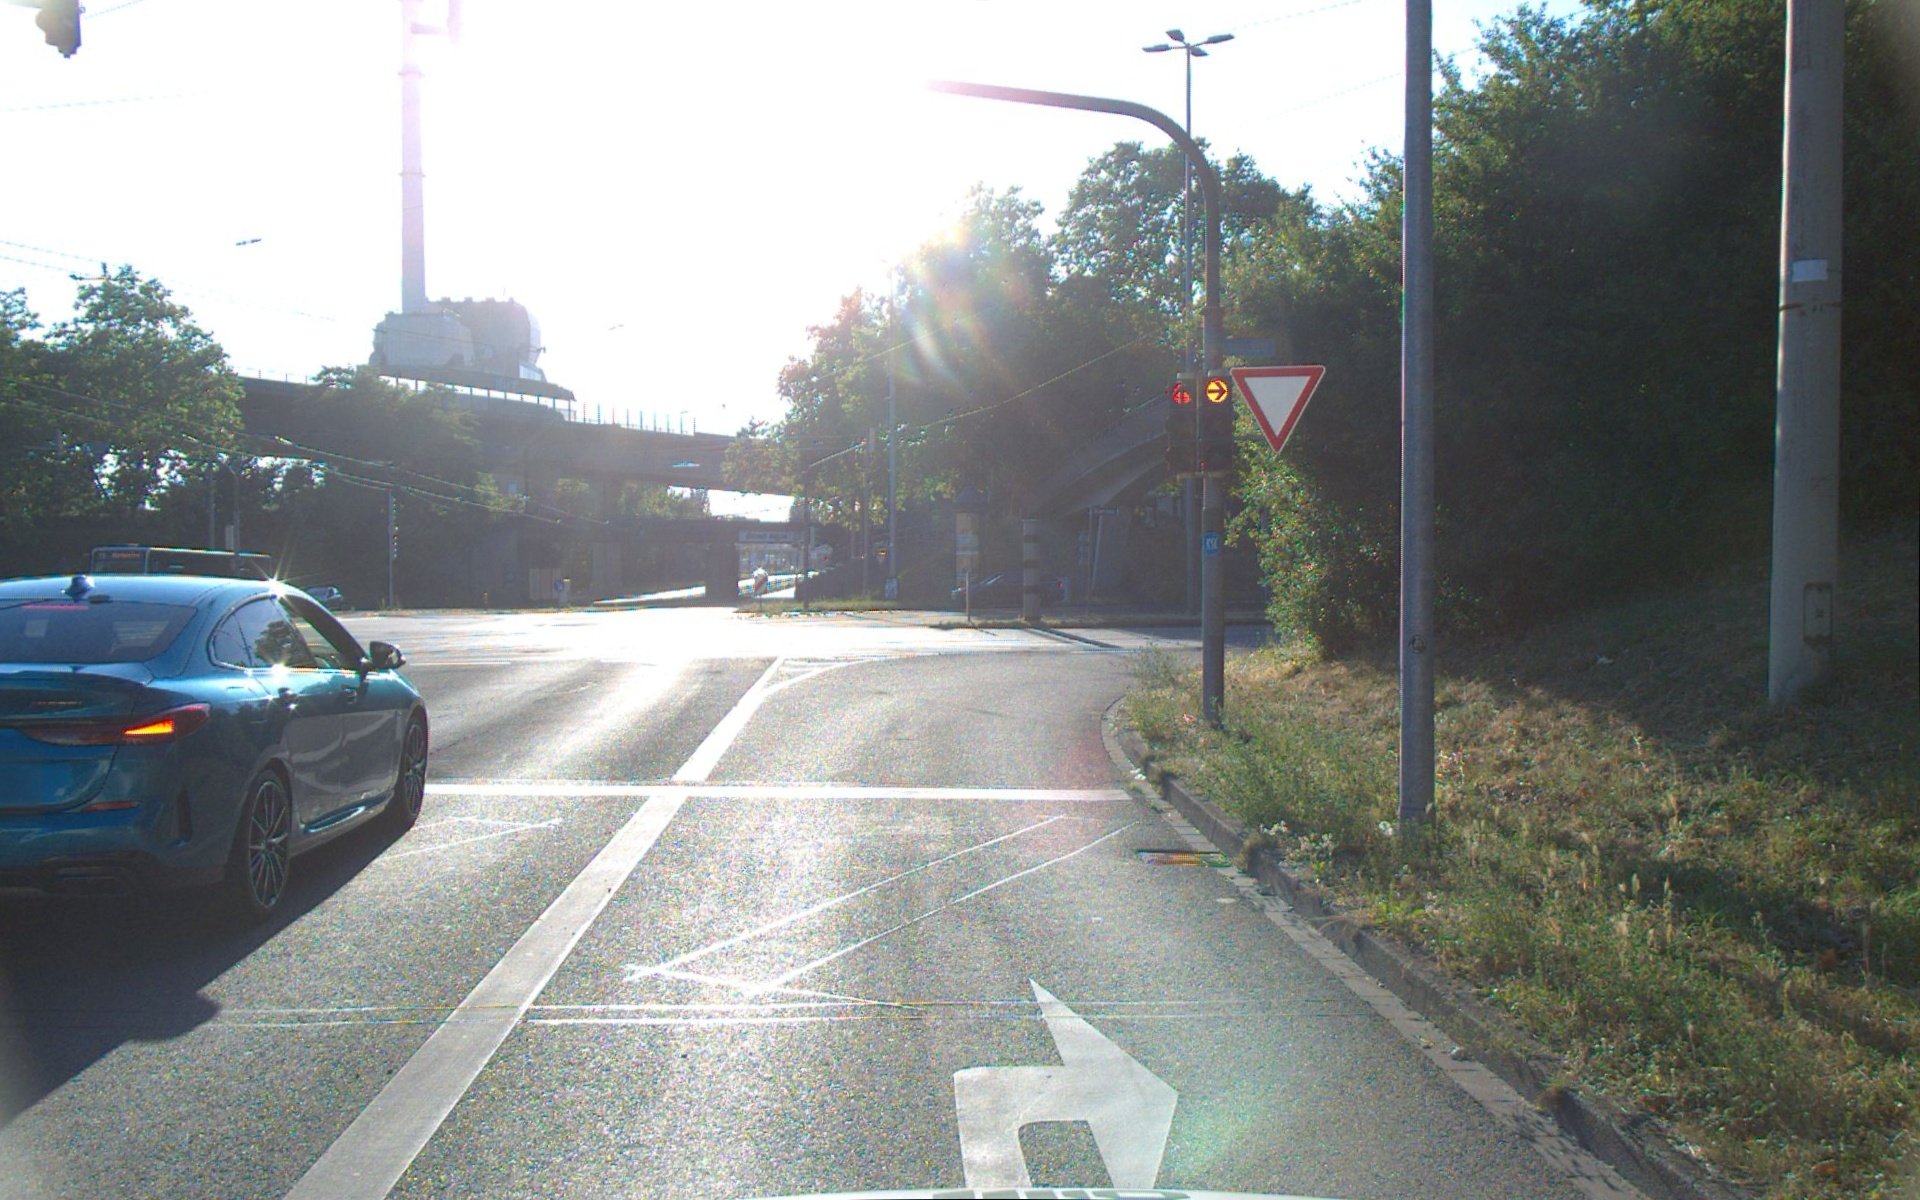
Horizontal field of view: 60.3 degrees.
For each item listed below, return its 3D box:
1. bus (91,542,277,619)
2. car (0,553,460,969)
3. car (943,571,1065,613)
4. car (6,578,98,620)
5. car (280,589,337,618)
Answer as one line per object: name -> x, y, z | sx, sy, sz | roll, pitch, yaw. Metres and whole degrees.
bus -> -35.002, -0.737, 75.395 | 2.492, 3.185, 12.915 | -1, -1, -1
car -> -3.763, 0.545, 8.033 | 1.680, 1.491, 4.203 | -1, 1, -5
car -> 1.720, -0.302, 64.663 | 4.509, 1.602, 1.684 | 0, 1, -21
car -> -34.805, -0.061, 63.484 | 1.575, 1.538, 4.004 | 1, 1, -5
car -> -35.170, 0.175, 89.350 | 1.574, 1.443, 4.007 | 1, 1, -1
